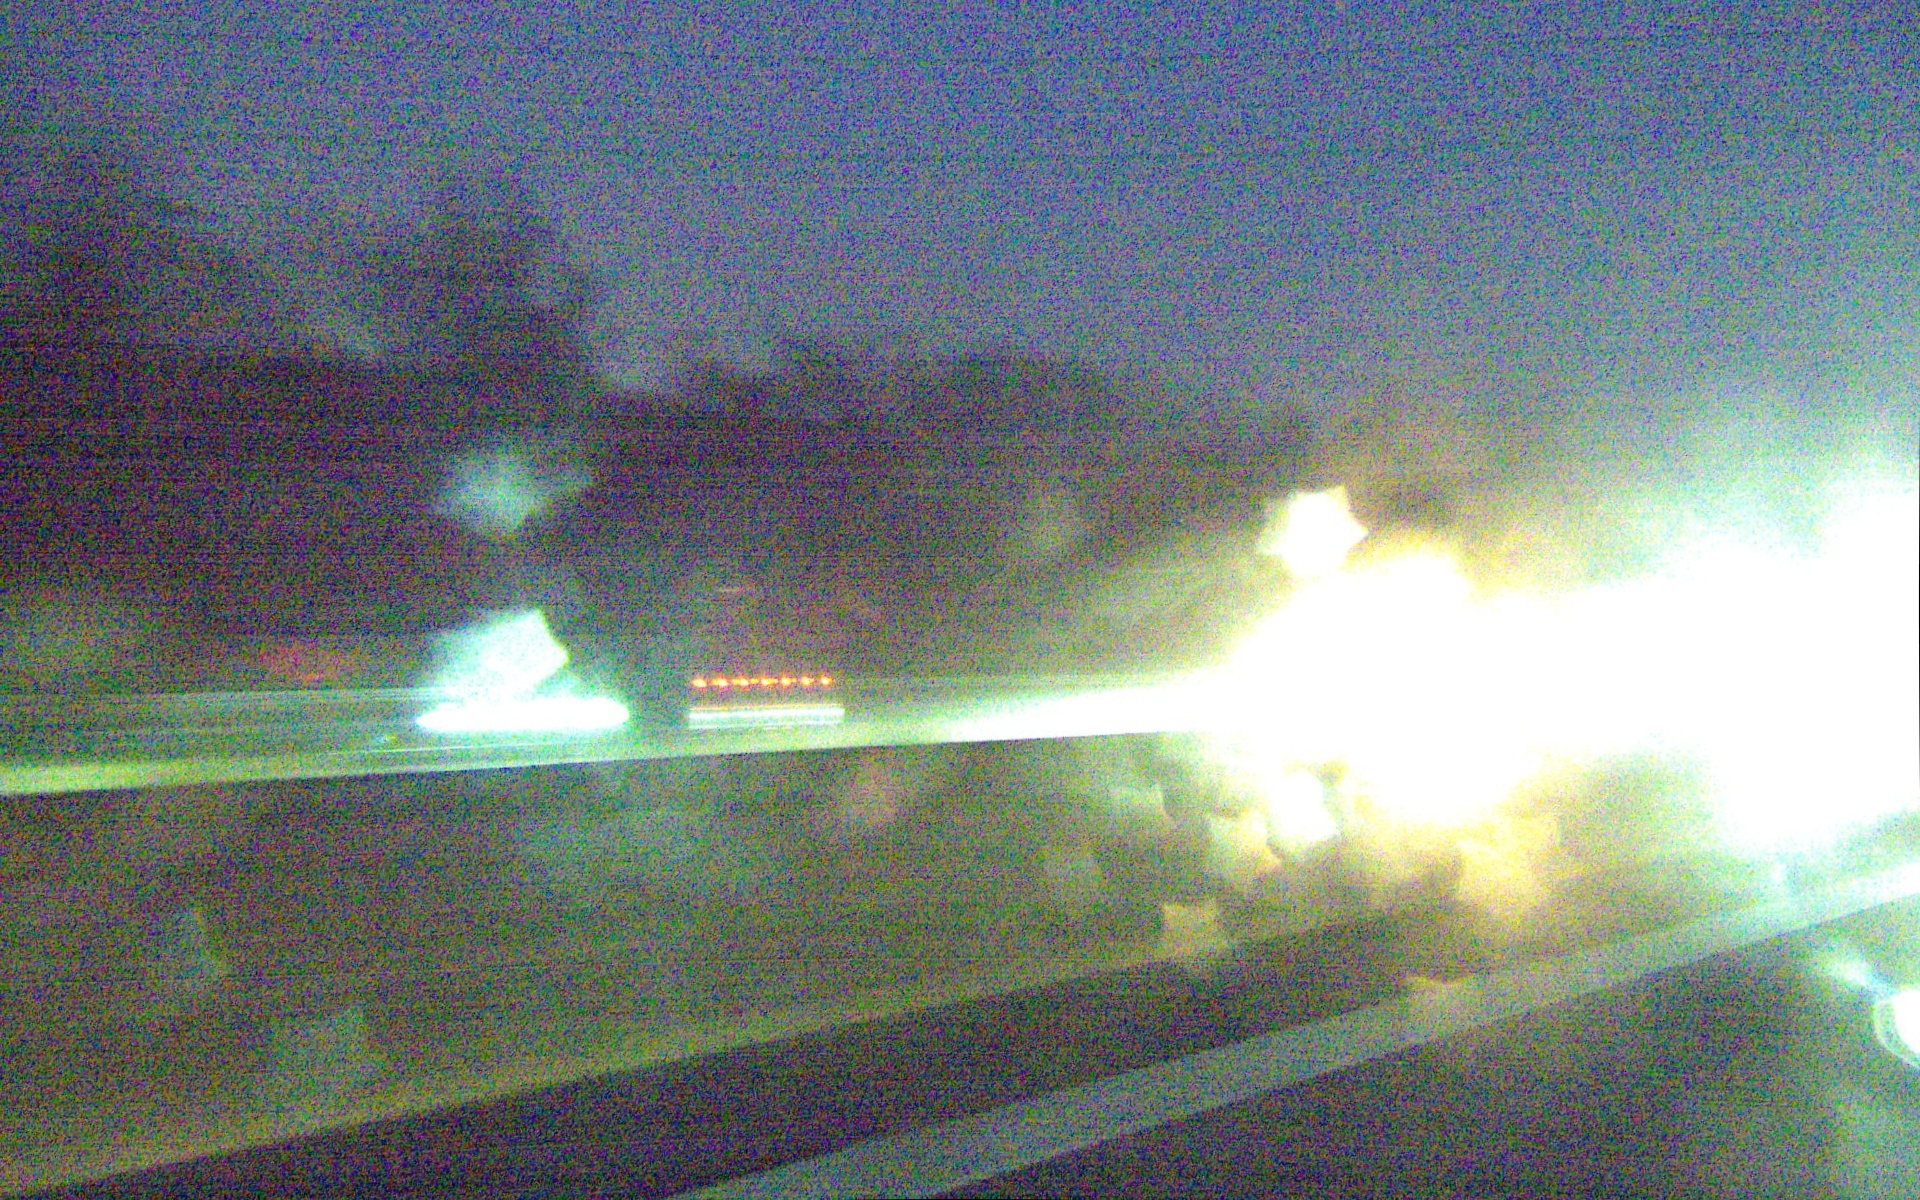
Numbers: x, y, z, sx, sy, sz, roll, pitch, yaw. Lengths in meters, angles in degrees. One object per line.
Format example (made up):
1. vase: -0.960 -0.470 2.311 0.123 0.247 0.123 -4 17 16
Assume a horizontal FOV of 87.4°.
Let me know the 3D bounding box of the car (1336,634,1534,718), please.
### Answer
1. car: 11.463 1.762 24.137 4.904 1.797 1.983 2 -1 -32

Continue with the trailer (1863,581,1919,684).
1. trailer: 46.358 1.514 46.018 15.457 4.277 2.678 2 0 -30

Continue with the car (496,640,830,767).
1. car: -4.797 1.585 16.484 4.904 1.797 1.983 2 -2 -32

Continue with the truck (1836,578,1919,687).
1. truck: 39.724 1.331 42.201 5.666 4.277 2.678 1 0 -30
